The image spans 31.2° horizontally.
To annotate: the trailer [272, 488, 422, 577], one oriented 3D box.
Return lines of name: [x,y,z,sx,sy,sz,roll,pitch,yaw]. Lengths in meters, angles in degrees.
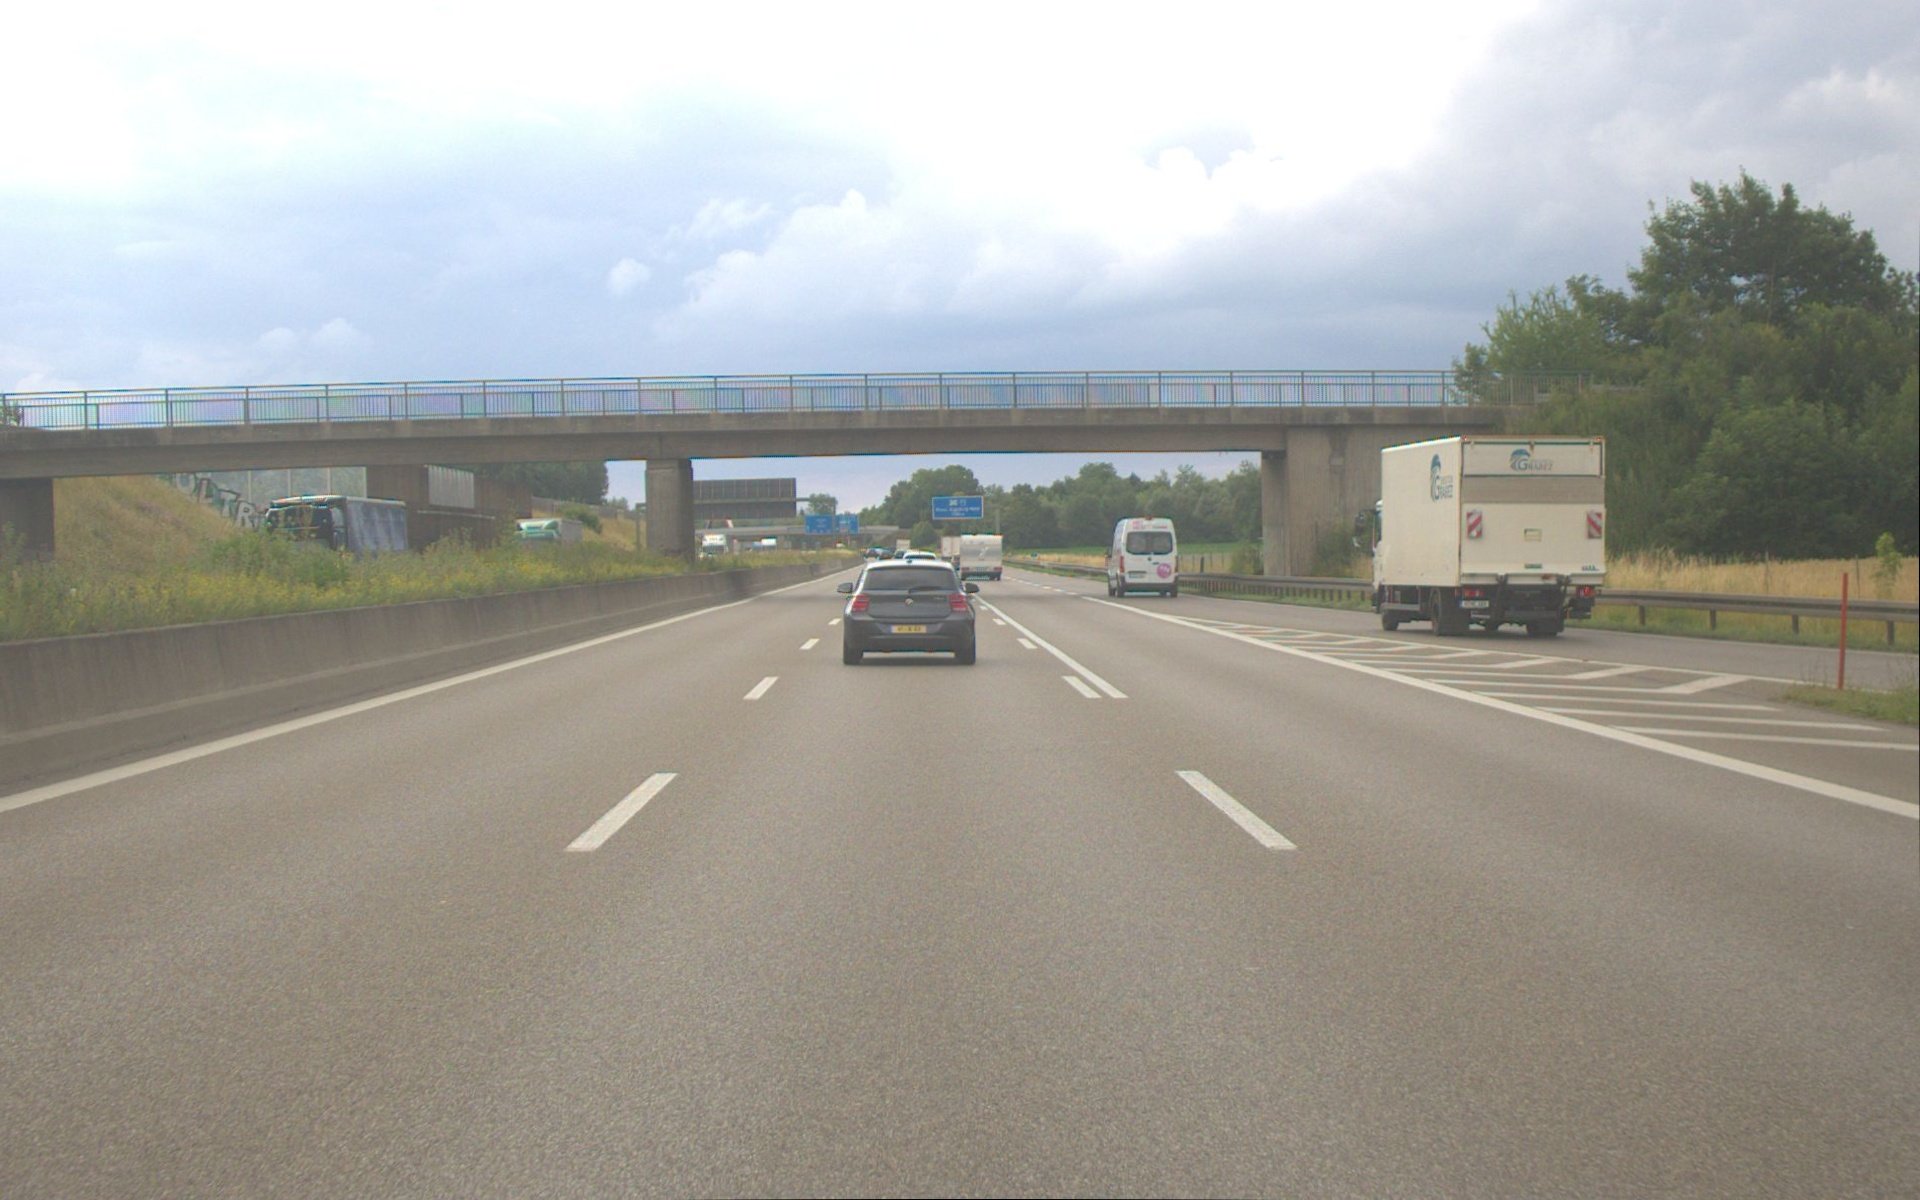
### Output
trailer: [-21.816,-2.361,123.151,2.921,2.945,13.971,1,1,0]

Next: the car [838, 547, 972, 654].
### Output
car: [-0.743,-0.026,46.910,1.743,1.384,4.000,0,1,-1]

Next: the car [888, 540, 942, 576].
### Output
car: [-1.722,-1.599,131.141,1.993,1.294,4.000,-1,1,-1]

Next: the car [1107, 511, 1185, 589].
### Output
car: [6.268,-1.694,116.335,2.221,2.559,6.256,0,1,-1]

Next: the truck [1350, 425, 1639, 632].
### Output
truck: [9.553,-1.263,62.626,3.104,3.459,8.893,1,1,-5]

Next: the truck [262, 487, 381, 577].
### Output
truck: [-21.800,-2.303,117.654,2.910,2.936,6.115,1,1,0]

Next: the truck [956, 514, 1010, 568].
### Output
truck: [1.239,-3.310,194.560,2.710,2.954,12.448,1,1,-1]
